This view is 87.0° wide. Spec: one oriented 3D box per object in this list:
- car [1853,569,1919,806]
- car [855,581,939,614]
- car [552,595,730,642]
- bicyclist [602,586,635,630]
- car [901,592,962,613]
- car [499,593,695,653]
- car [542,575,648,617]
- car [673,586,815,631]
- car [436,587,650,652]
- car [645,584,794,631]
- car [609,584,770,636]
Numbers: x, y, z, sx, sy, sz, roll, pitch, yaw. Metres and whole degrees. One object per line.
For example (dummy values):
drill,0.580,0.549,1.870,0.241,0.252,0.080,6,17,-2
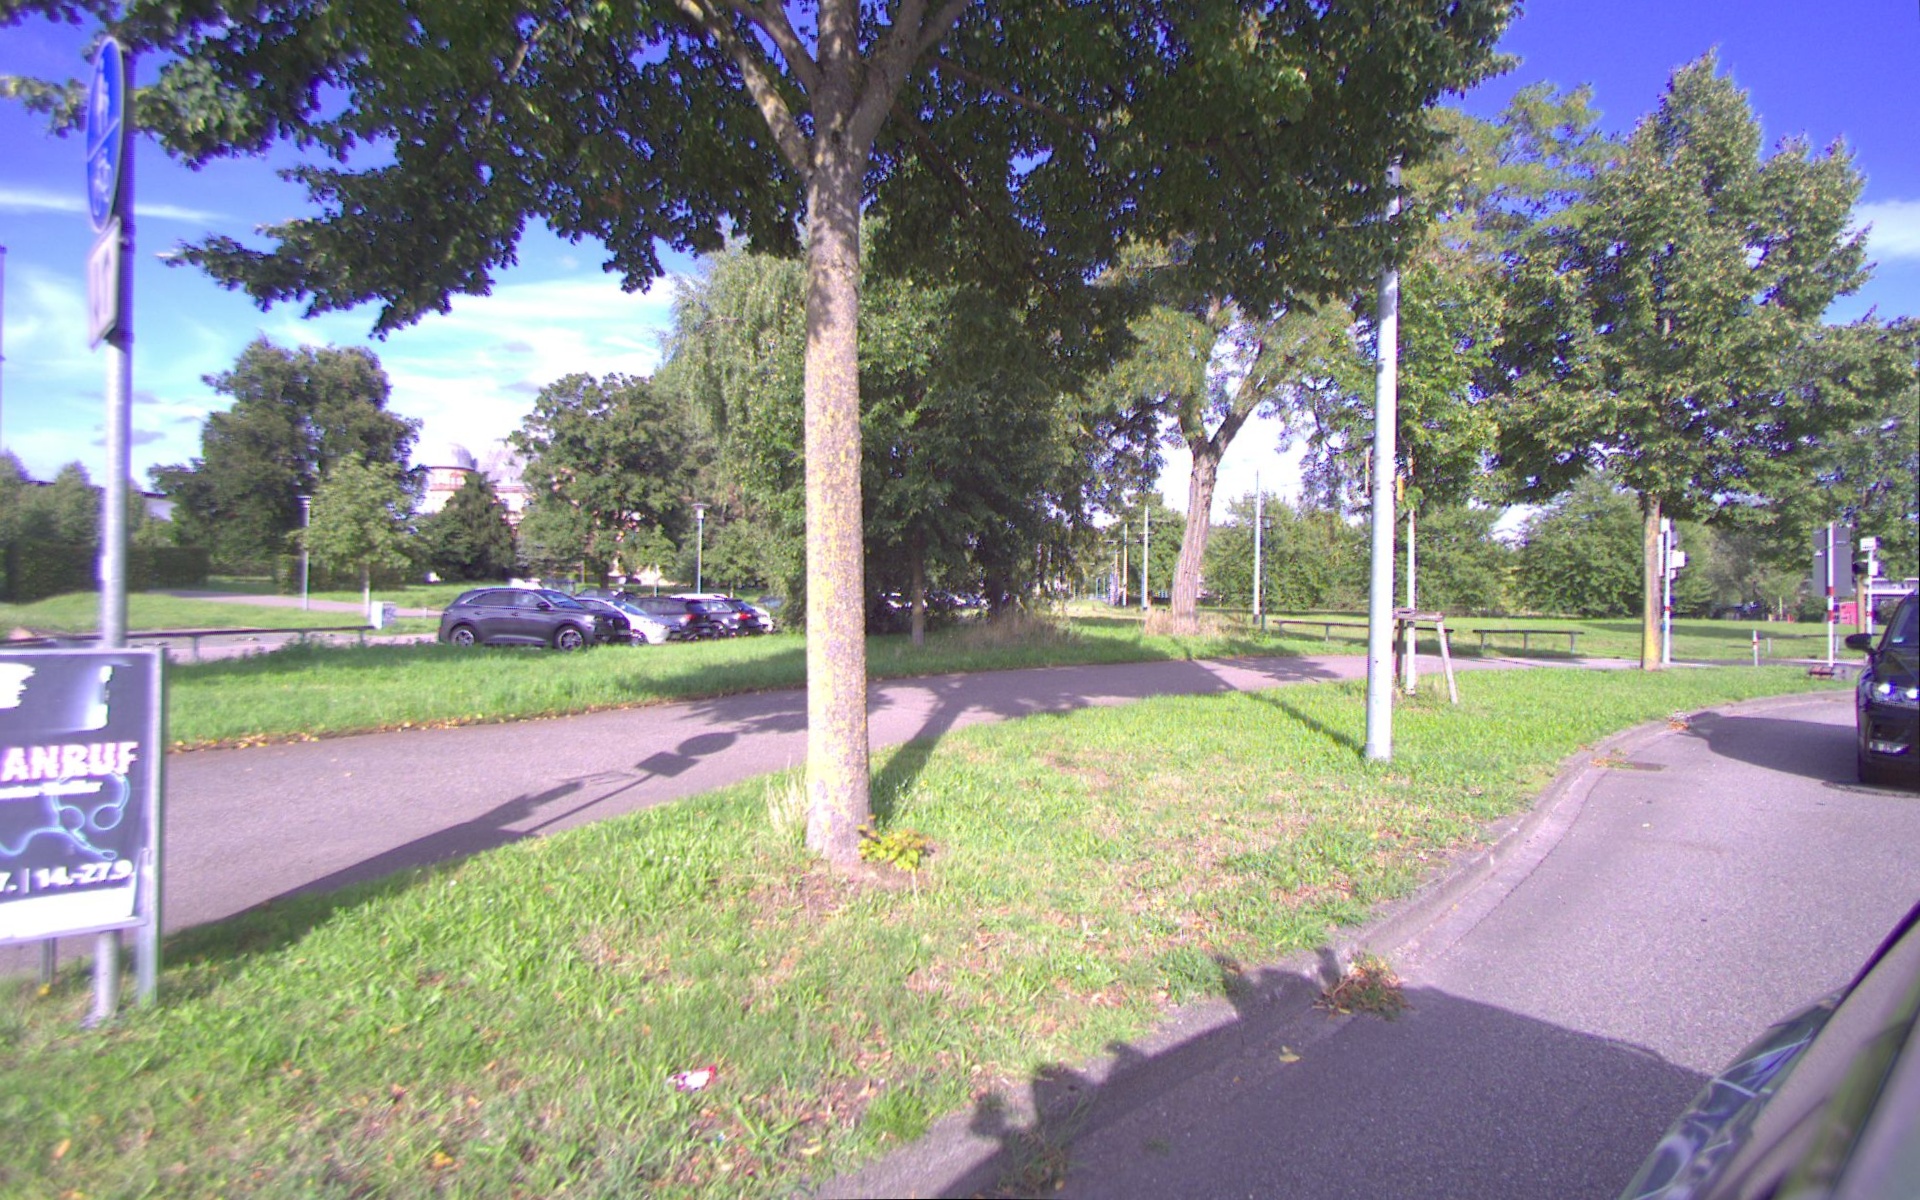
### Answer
car,9.158,0.647,8.557,4.929,1.716,1.869,0,1,-42
car,-4.104,-0.202,66.343,5.036,2.032,2.308,1,0,13
car,-9.278,0.518,29.614,4.657,1.223,1.856,1,0,10
bicyclist,-12.573,0.287,37.233,0.761,1.594,0.956,1,1,14
car,-2.187,0.164,78.622,4.402,1.523,1.854,1,0,13
car,-9.668,0.573,27.116,4.657,1.458,1.856,1,0,10
car,-18.221,-0.165,50.580,4.736,2.040,1.870,0,-2,12
car,-7.878,0.273,37.081,4.785,1.534,1.856,1,0,10
car,-9.888,0.434,24.141,4.442,1.399,1.856,1,0,10
car,-8.275,0.236,35.007,4.657,1.534,1.856,1,0,10
car,-8.630,0.302,32.403,4.657,1.534,1.856,1,0,10
